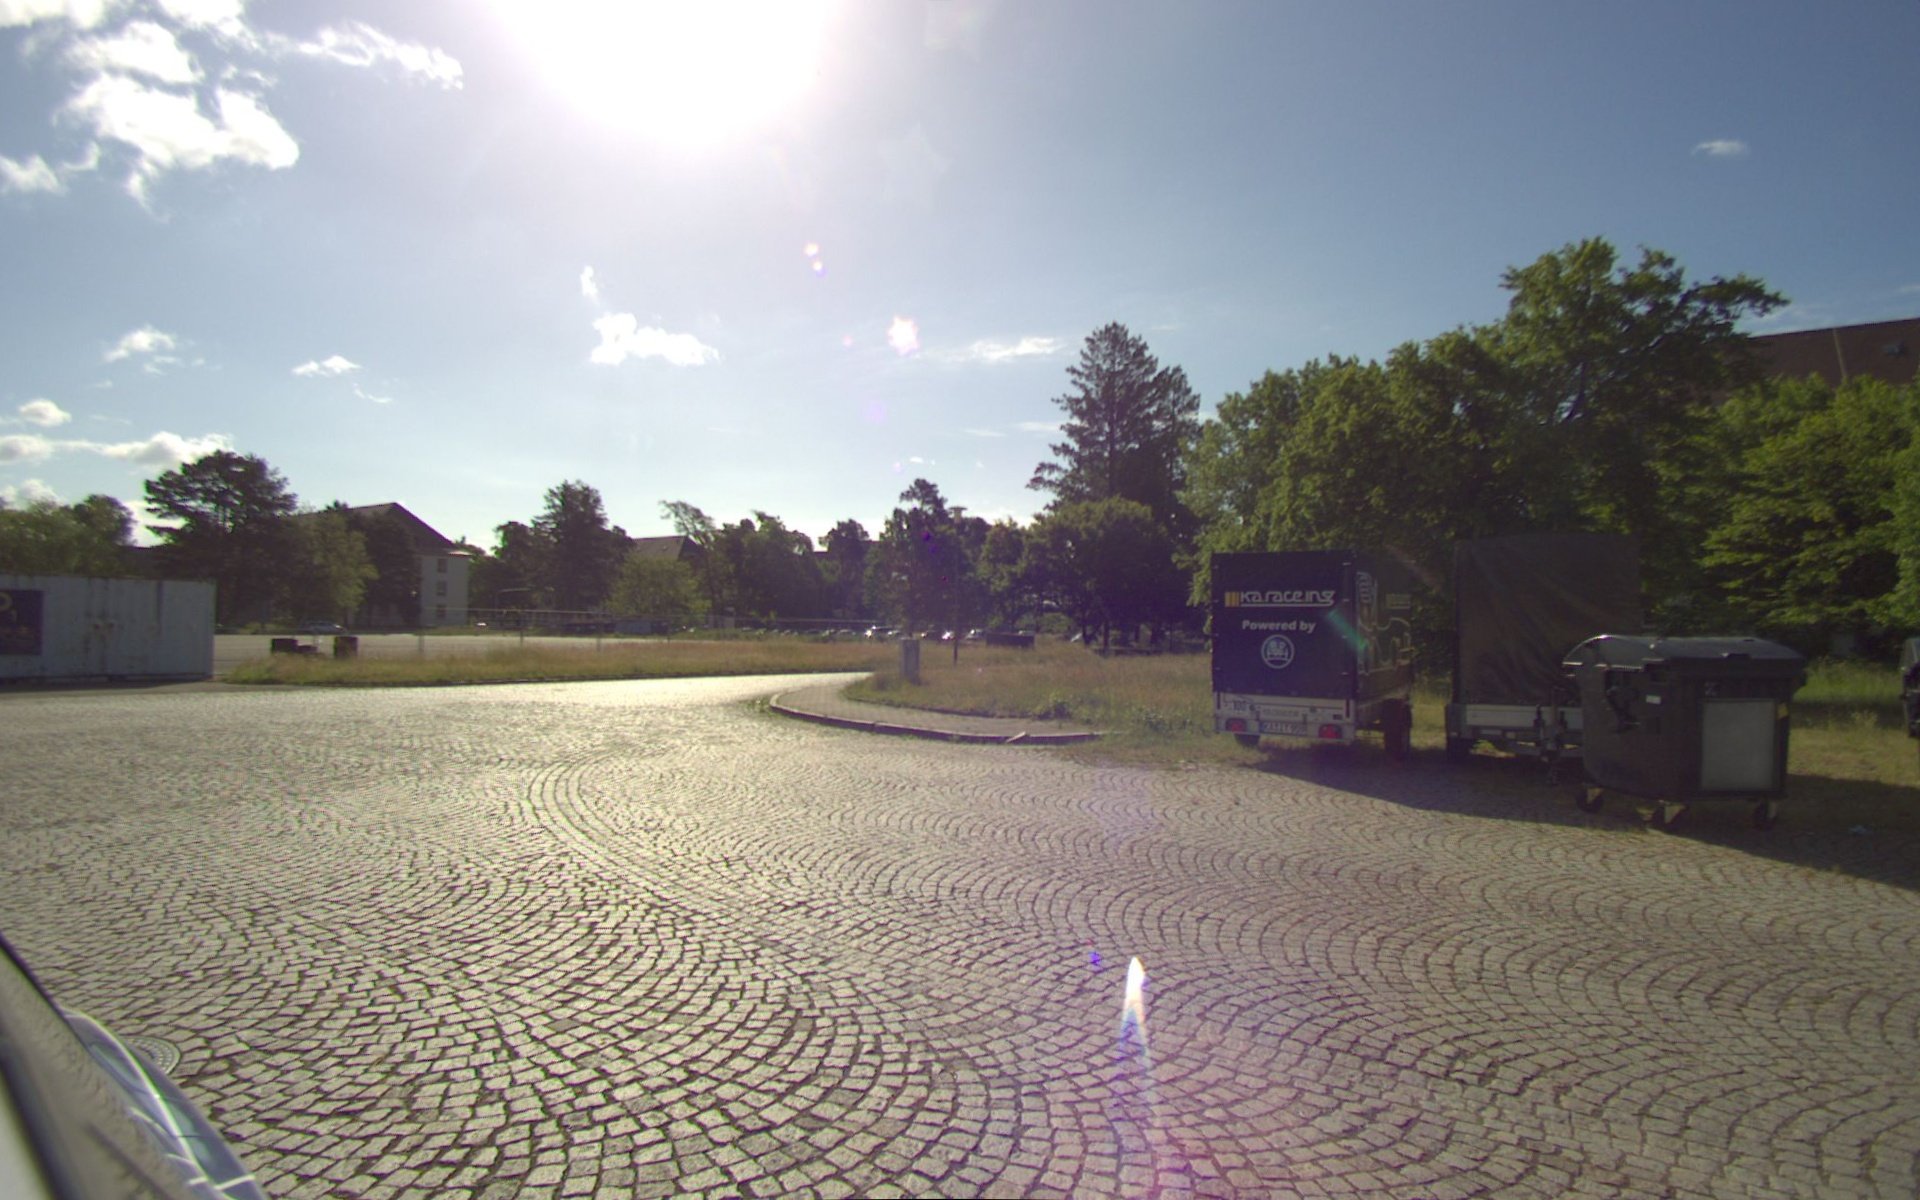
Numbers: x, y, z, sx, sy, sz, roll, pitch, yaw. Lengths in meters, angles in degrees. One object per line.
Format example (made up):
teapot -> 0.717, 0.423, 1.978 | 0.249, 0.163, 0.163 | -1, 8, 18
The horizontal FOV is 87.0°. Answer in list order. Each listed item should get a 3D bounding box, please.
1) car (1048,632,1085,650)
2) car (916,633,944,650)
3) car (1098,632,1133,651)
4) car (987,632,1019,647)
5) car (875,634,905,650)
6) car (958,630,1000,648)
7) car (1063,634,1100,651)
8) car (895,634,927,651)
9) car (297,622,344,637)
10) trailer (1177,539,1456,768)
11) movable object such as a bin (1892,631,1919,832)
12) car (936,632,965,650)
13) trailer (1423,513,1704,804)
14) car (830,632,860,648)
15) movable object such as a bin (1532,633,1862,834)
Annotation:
car -> 11.920, 4.575, 113.228 | 2.245, 1.853, 4.293 | 0, -2, 38
car -> -3.631, 5.019, 122.988 | 1.738, 2.029, 3.578 | 0, -2, 34
car -> 16.738, 4.432, 108.522 | 2.239, 2.029, 4.303 | 0, -2, 31
car -> 5.033, 4.570, 117.357 | 1.995, 1.664, 3.954 | 0, -2, 34
car -> -8.726, 5.233, 126.512 | 1.738, 2.029, 3.807 | 0, -2, 34
car -> 2.335, 4.638, 120.107 | 1.995, 2.029, 5.963 | -2, -2, 35
car -> 13.392, 4.668, 111.191 | 2.242, 1.853, 4.297 | 0, -2, 35
car -> -6.086, 5.271, 126.350 | 1.994, 2.029, 3.955 | -1, -2, 33
car -> -70.842, 3.247, 112.144 | 1.992, 1.594, 3.958 | 0, -2, 30
trailer -> 4.659, 0.622, 12.728 | 2.132, 2.315, 4.614 | -1, -2, 36
movable object such as a bin -> 7.688, 0.946, 7.090 | 1.533, 1.433, 1.284 | -1, -2, 36
car -> -1.161, 4.926, 121.645 | 1.738, 2.029, 3.578 | 0, -2, 34
trailer -> 6.431, 0.560, 10.927 | 2.088, 2.373, 4.922 | 0, -2, 31
car -> -14.893, 5.204, 131.245 | 1.739, 2.029, 3.804 | 0, -2, 36
movable object such as a bin -> 5.632, 0.965, 7.867 | 1.511, 1.397, 1.389 | 1, -2, -9
